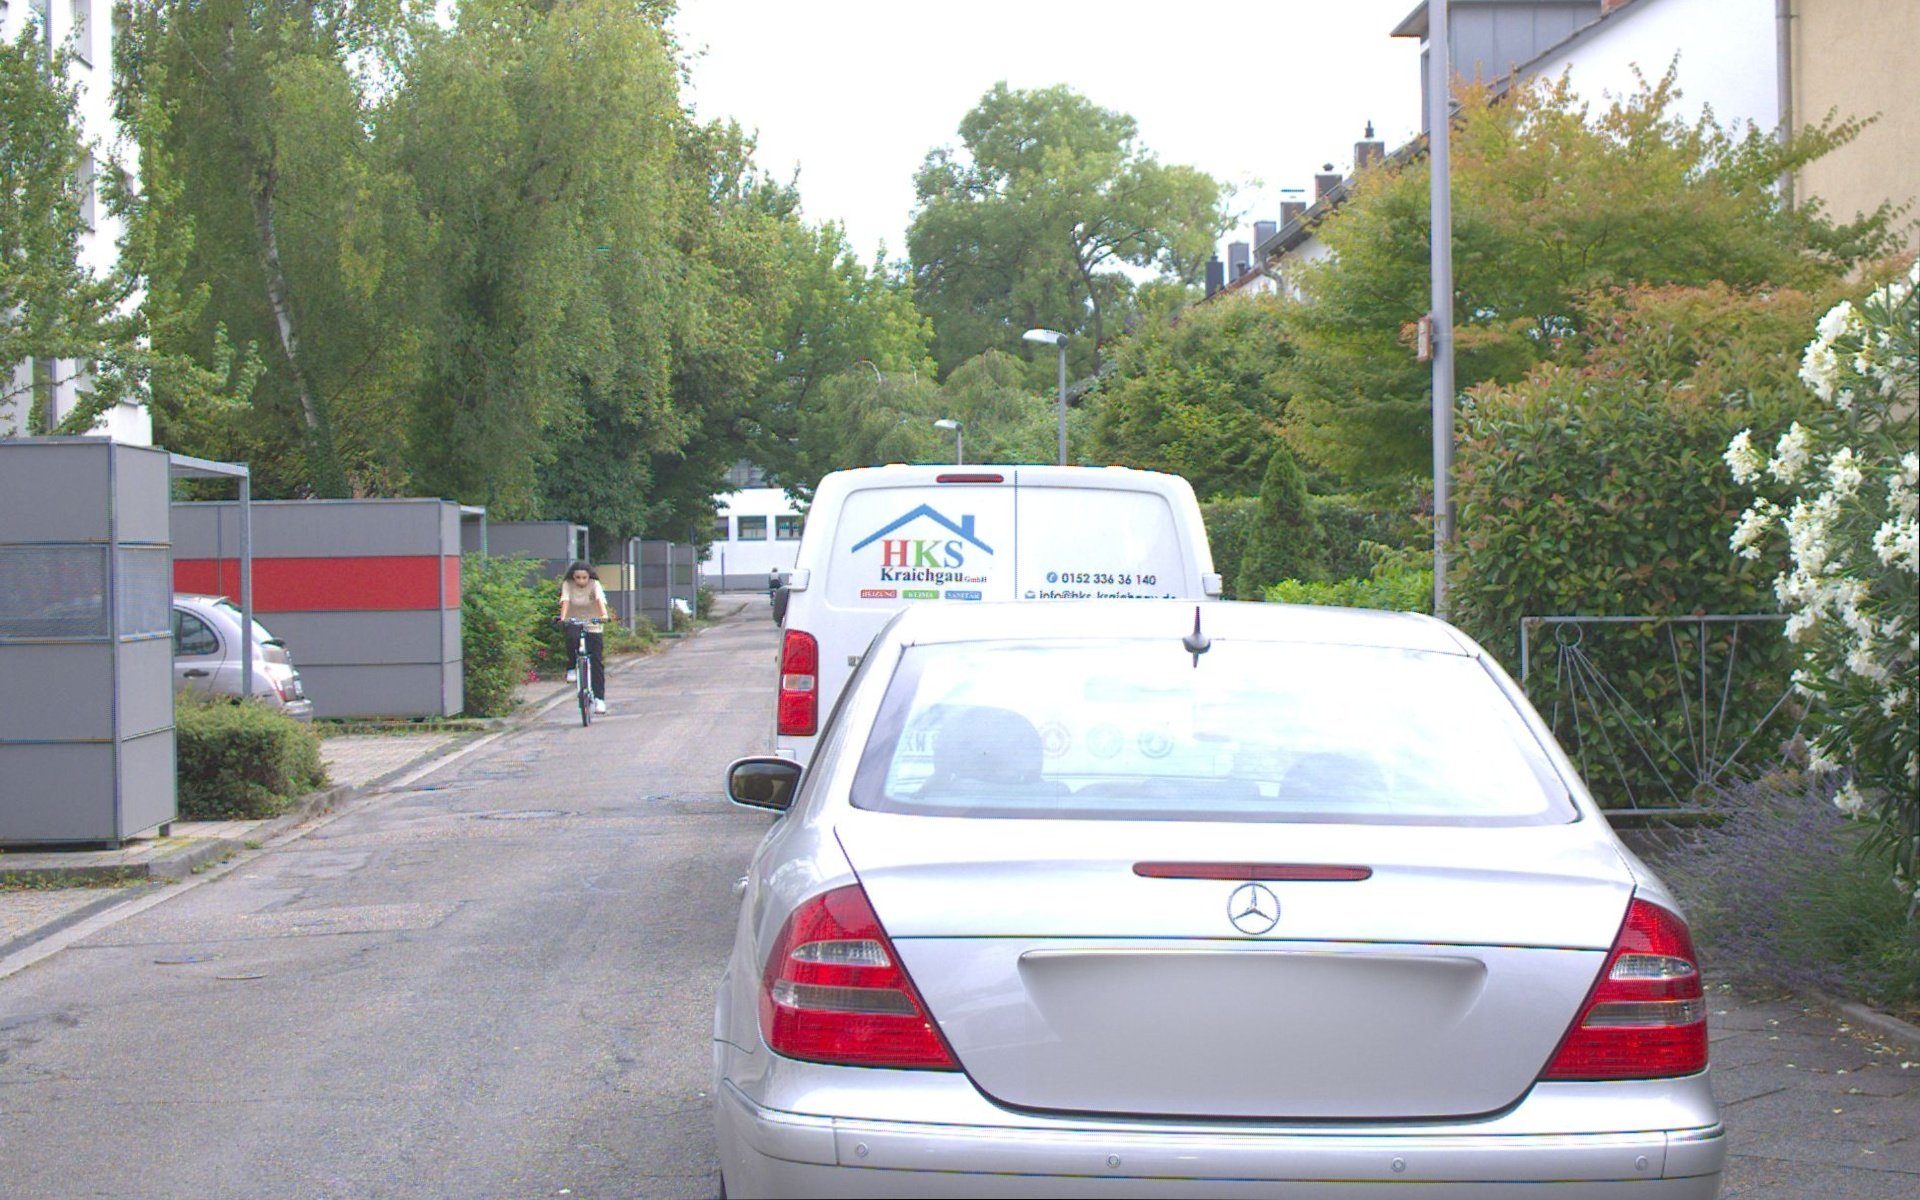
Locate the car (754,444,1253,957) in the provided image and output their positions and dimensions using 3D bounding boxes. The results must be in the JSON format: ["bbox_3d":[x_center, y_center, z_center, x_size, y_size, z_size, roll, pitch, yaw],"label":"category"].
[{"bbox_3d":[0.045,0.362,15.819,1.903,1.958,5.254,0,1,-3],"label":"car"}]

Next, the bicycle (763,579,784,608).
[{"bbox_3d":[-7.313,-0.255,134.902,0.689,1.127,2.579,1,0,0],"label":"bicycle"}]

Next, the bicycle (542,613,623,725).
[{"bbox_3d":[-3.890,0.695,35.570,0.597,1.072,2.042,-2,1,-1],"label":"bicycle"}]

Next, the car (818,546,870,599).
[{"bbox_3d":[-4.182,-1.005,124.420,1.825,1.877,4.000,1,1,-2],"label":"car"}]

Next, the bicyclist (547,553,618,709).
[{"bbox_3d":[-3.903,0.311,35.607,0.597,1.575,0.767,-2,0,-1],"label":"bicyclist"}]

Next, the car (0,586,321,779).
[{"bbox_3d":[-7.267,0.687,28.885,3.561,1.475,1.711,-2,1,-6],"label":"car"}]

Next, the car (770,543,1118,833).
[{"bbox_3d":[-0.201,0.479,21.495,1.824,1.630,4.163,0,1,-5],"label":"car"}]

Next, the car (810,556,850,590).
[{"bbox_3d":[-6.233,-1.326,165.286,1.825,1.576,4.000,1,1,-2],"label":"car"}]

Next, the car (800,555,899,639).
[{"bbox_3d":[-2.208,-0.088,67.777,1.825,1.576,4.001,1,1,-4],"label":"car"}]

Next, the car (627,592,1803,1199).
[{"bbox_3d":[0.365,0.714,7.462,1.783,1.416,4.455,0,1,-1],"label":"car"}]

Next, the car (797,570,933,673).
[{"bbox_3d":[-1.360,0.274,49.079,1.825,1.365,4.331,1,1,-2],"label":"car"}]

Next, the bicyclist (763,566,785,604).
[{"bbox_3d":[-7.292,-0.587,134.897,0.798,1.506,0.934,1,0,0],"label":"bicyclist"}]
